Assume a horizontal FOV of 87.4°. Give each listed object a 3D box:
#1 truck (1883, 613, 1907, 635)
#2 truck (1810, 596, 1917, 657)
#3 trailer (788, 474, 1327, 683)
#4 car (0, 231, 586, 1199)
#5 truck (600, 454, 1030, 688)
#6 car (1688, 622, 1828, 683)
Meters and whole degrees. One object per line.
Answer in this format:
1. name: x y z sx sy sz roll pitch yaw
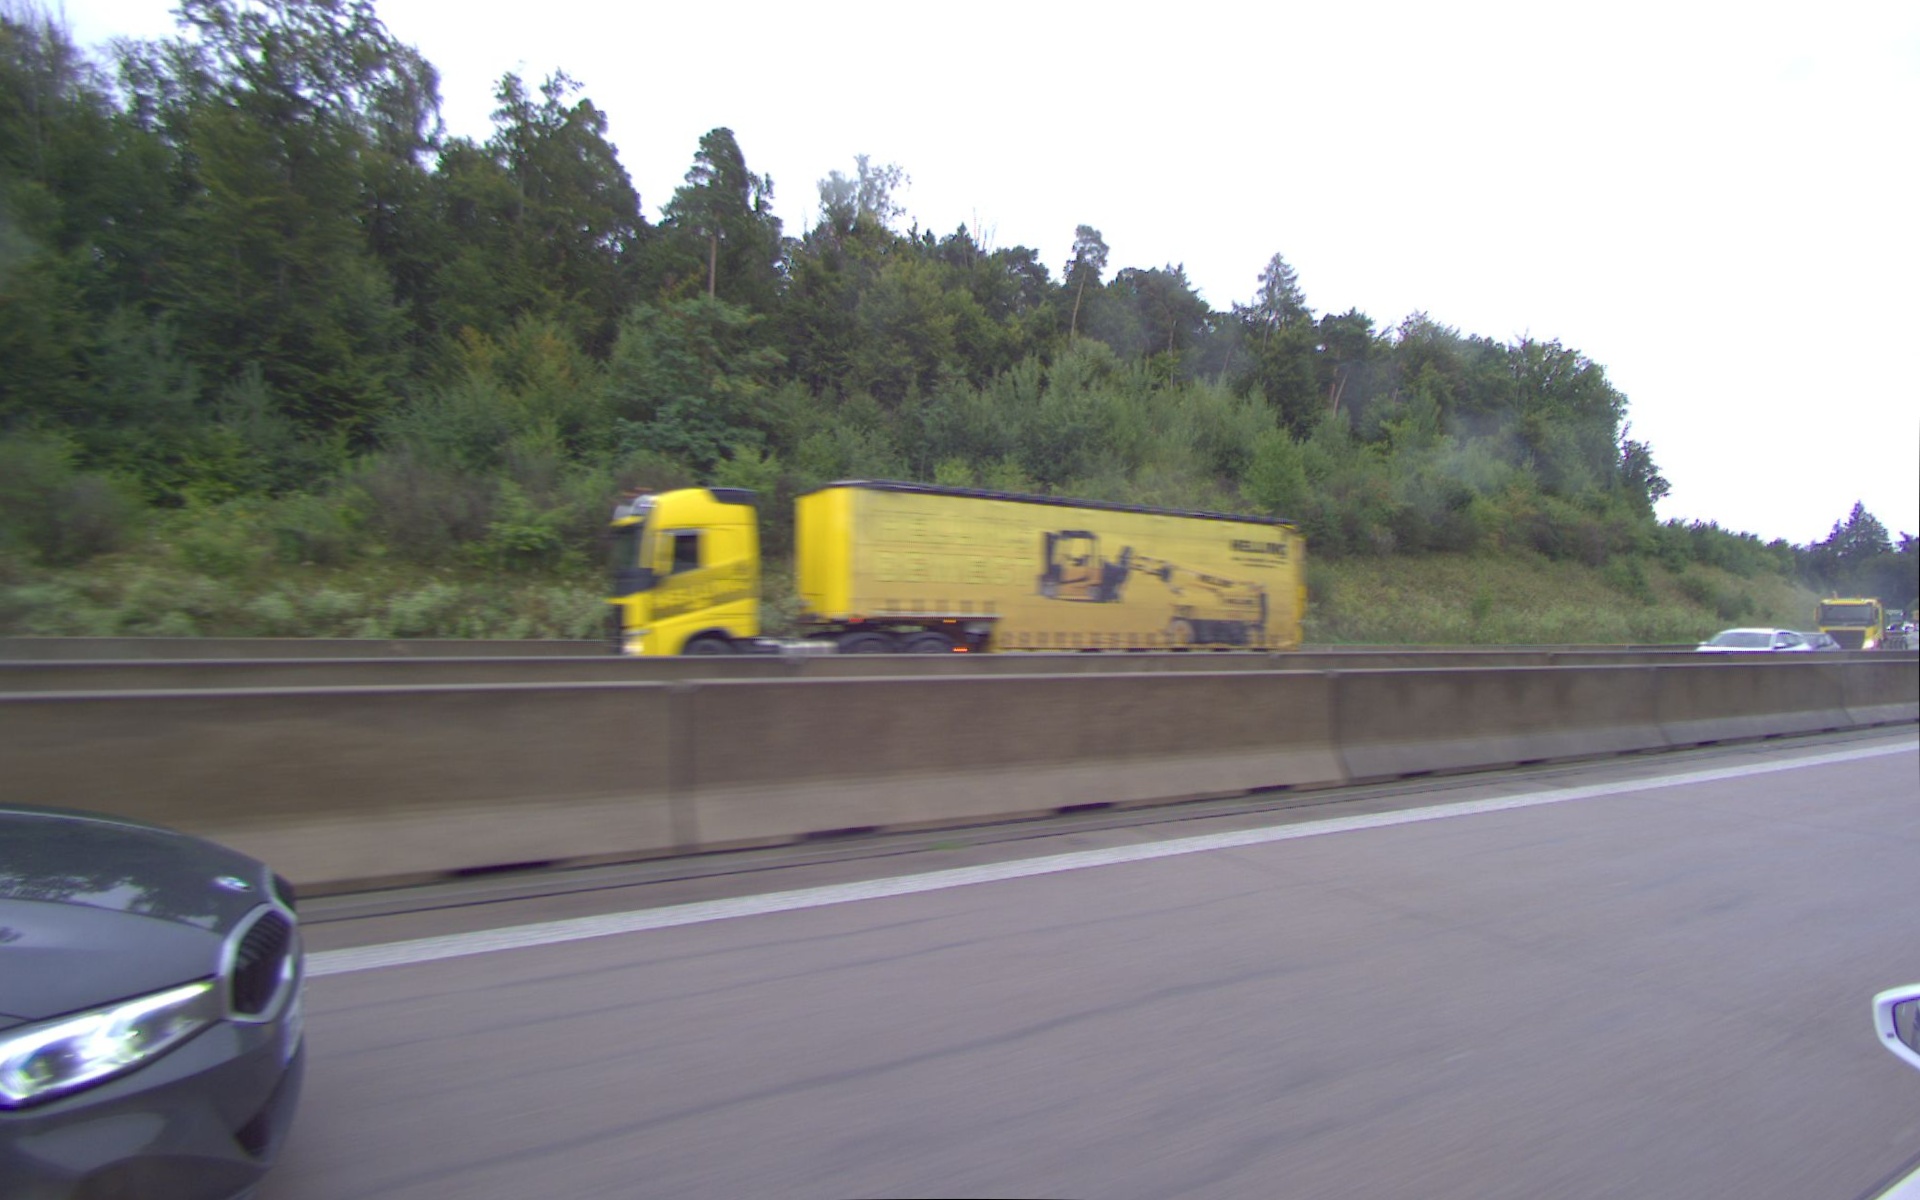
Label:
1. truck: 177.474 4.567 190.623 8.063 4.013 2.898 1 -1 -44
2. truck: 52.771 1.541 58.562 9.287 3.340 2.605 2 -1 -35
3. trailer: 2.894 -0.251 23.663 13.545 3.926 2.998 2 0 -32
4. car: -3.798 0.402 1.149 6.089 1.971 1.899 2 0 -30
5. truck: -2.752 -0.396 20.229 8.025 3.926 3.010 2 0 -31
6. car: 22.020 1.417 27.683 4.495 1.498 1.644 2 0 -32
